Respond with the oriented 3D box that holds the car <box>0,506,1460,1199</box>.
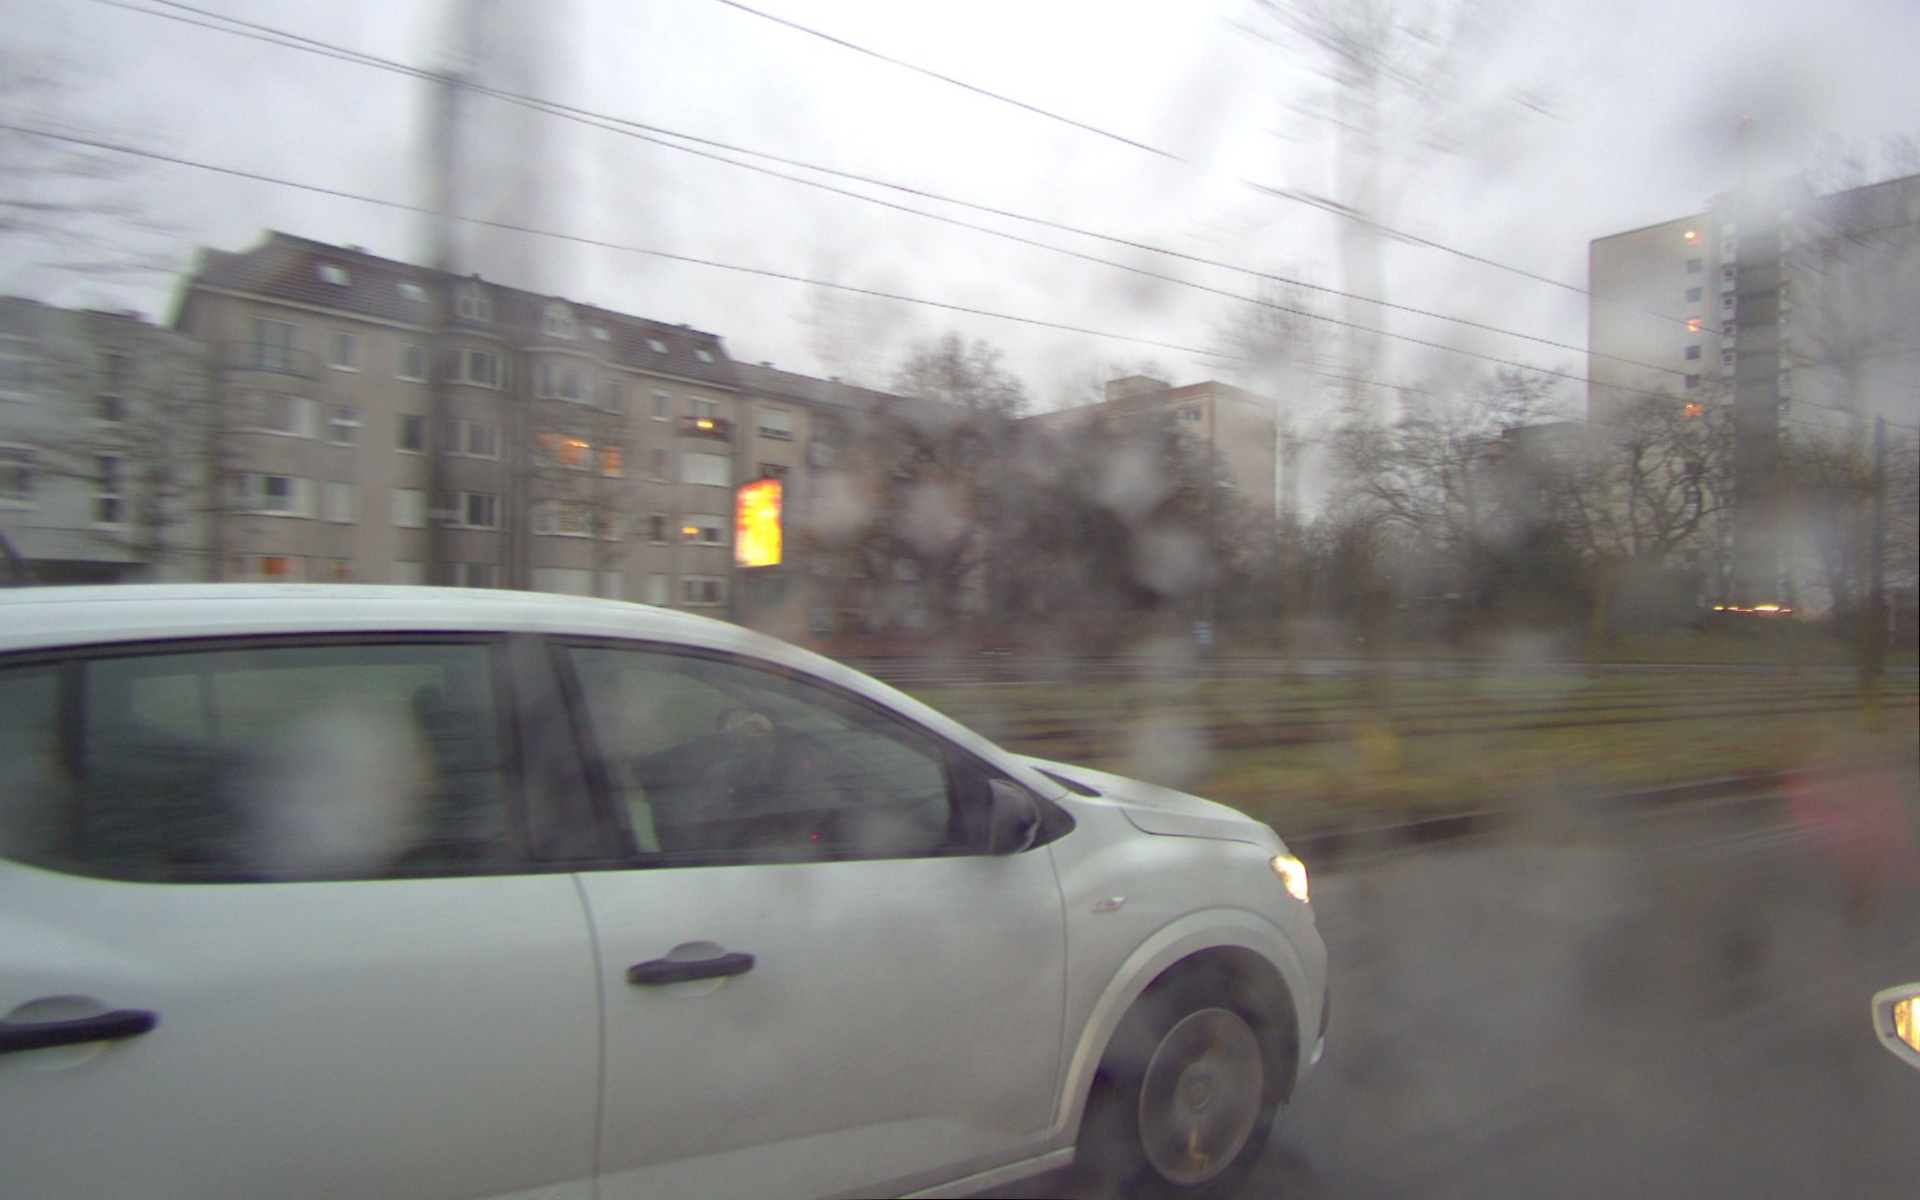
[{"bbox_3d":[-0.759,0.688,2.562,4.086,1.545,1.700,2,-1,-30],"label":"car"}]
